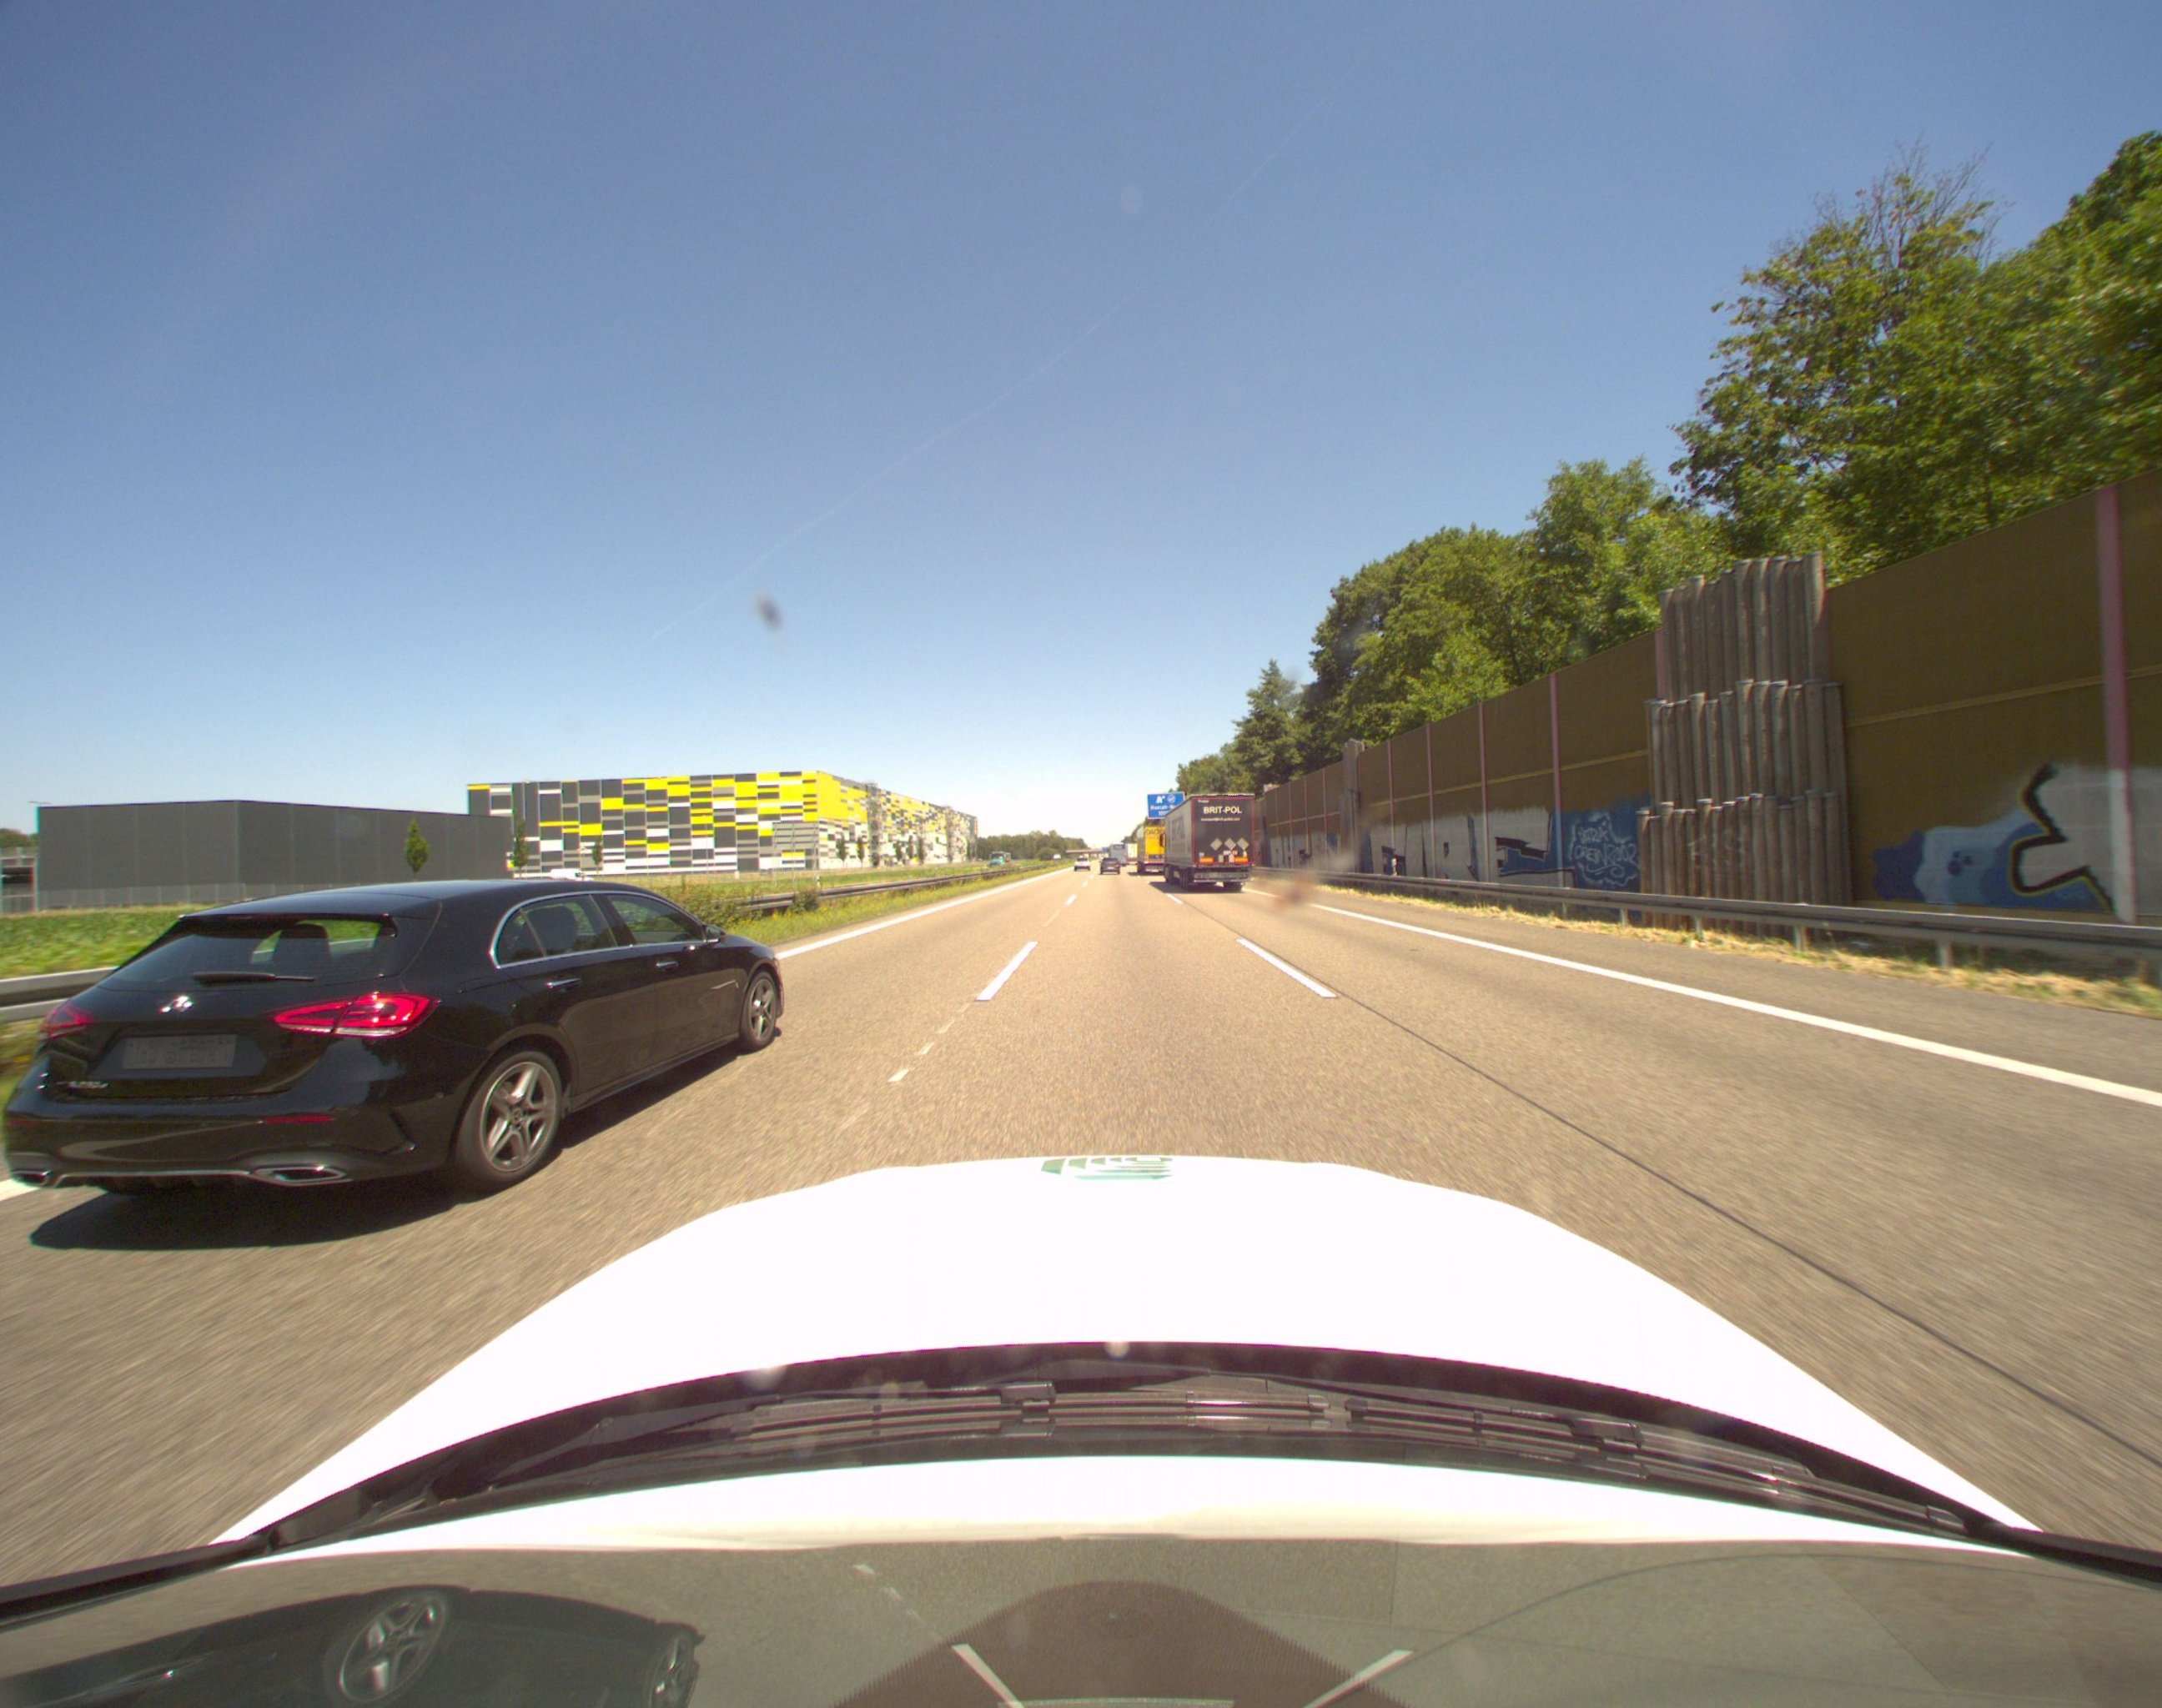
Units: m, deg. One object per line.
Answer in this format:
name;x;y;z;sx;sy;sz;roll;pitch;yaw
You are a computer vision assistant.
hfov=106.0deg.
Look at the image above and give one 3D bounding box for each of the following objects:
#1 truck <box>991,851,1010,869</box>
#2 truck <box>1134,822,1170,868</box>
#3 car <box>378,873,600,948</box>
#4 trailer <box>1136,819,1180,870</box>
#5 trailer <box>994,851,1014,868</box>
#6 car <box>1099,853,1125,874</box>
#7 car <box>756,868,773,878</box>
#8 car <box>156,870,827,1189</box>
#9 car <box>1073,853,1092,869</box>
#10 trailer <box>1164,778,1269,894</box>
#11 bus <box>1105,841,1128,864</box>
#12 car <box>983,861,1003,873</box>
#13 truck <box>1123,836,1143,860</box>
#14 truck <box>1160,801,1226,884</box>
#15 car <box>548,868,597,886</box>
truck;-15.268;1.095;154.794;2.687;3.250;5.840;-2;-1;2
truck;6.579;-0.775;76.293;2.803;4.006;6.646;-2;0;1
car;-16.321;1.479;22.976;1.986;1.680;5.555;-3;-1;2
trailer;6.395;-0.753;69.150;2.824;3.954;11.687;-1;0;2
trailer;-15.081;1.133;159.641;2.665;3.238;9.262;-2;-1;2
car;2.765;0.839;73.141;2.208;1.790;5.395;-2;0;2
car;-62.314;3.730;160.540;1.679;1.727;4.112;-2;0;0
car;-3.459;0.879;5.916;1.785;1.412;4.054;-2;0;2
car;0.194;0.823;92.623;1.986;1.728;4.131;-1;0;1
trailer;6.069;-0.664;39.485;3.094;4.507;14.902;-1;0;2
bus;5.495;-0.187;127.312;3.052;3.326;8.274;-2;0;0
car;-13.086;1.919;121.392;1.986;1.639;5.666;-3;0;2
truck;9.544;-1.113;149.677;3.409;4.126;9.570;-2;0;3
truck;6.324;-0.585;46.911;3.076;4.441;6.055;-1;-1;2
car;-70.307;3.210;112.626;5.628;2.178;2.088;-2;0;-31
